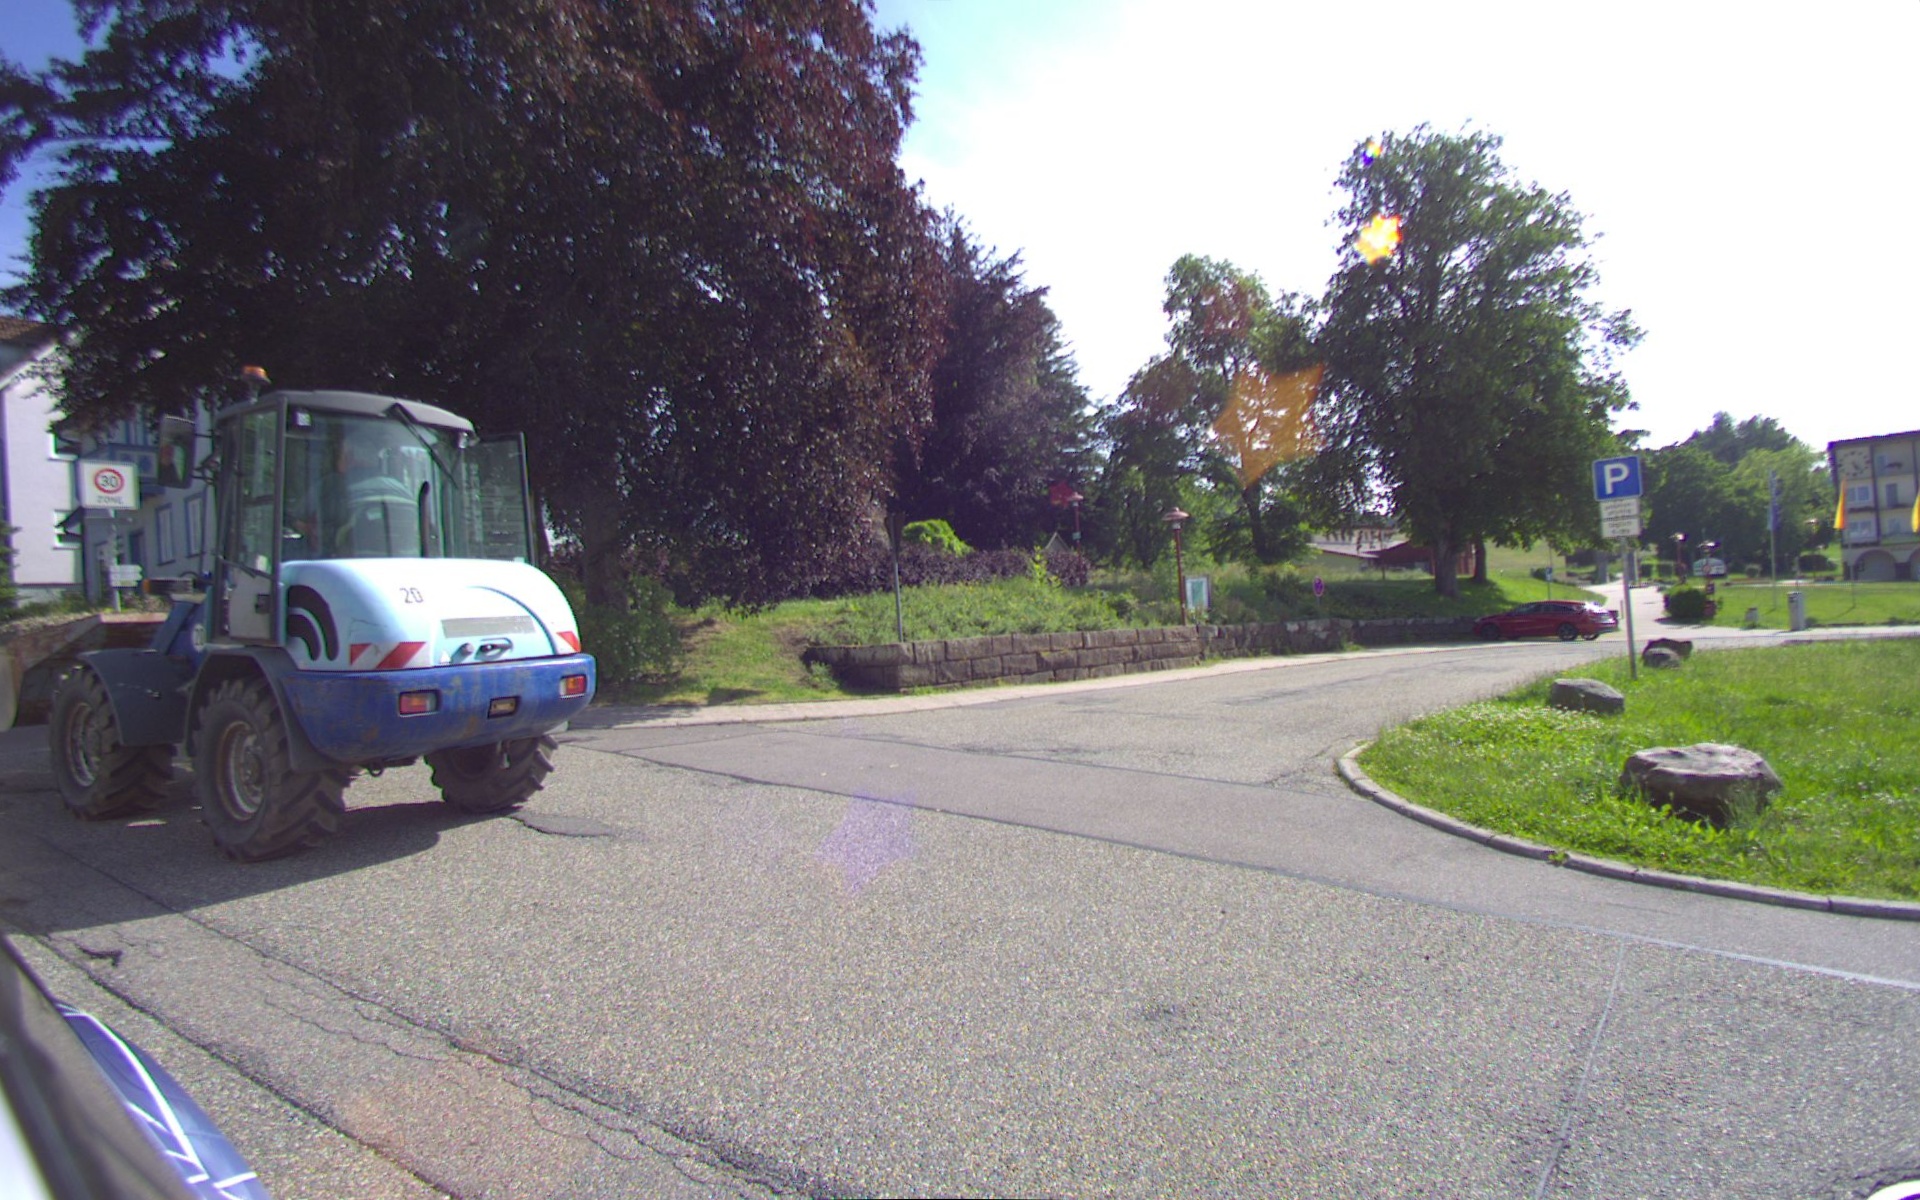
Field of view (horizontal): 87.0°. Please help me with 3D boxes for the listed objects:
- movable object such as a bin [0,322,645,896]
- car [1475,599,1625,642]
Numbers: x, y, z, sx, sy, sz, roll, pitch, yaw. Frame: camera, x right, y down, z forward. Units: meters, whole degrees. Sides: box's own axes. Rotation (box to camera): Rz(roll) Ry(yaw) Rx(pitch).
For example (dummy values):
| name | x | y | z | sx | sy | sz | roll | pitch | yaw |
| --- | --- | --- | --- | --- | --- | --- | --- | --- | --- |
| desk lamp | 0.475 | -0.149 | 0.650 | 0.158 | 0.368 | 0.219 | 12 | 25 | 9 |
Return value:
| name | x | y | z | sx | sy | sz | roll | pitch | yaw |
| --- | --- | --- | --- | --- | --- | --- | --- | --- | --- |
| movable object such as a bin | -4.747 | 0.037 | 7.070 | 5.085 | 2.790 | 1.980 | 0 | 0 | 30 |
| car | 20.982 | 0.728 | 36.146 | 1.793 | 1.409 | 4.250 | -1 | -1 | -32 |
